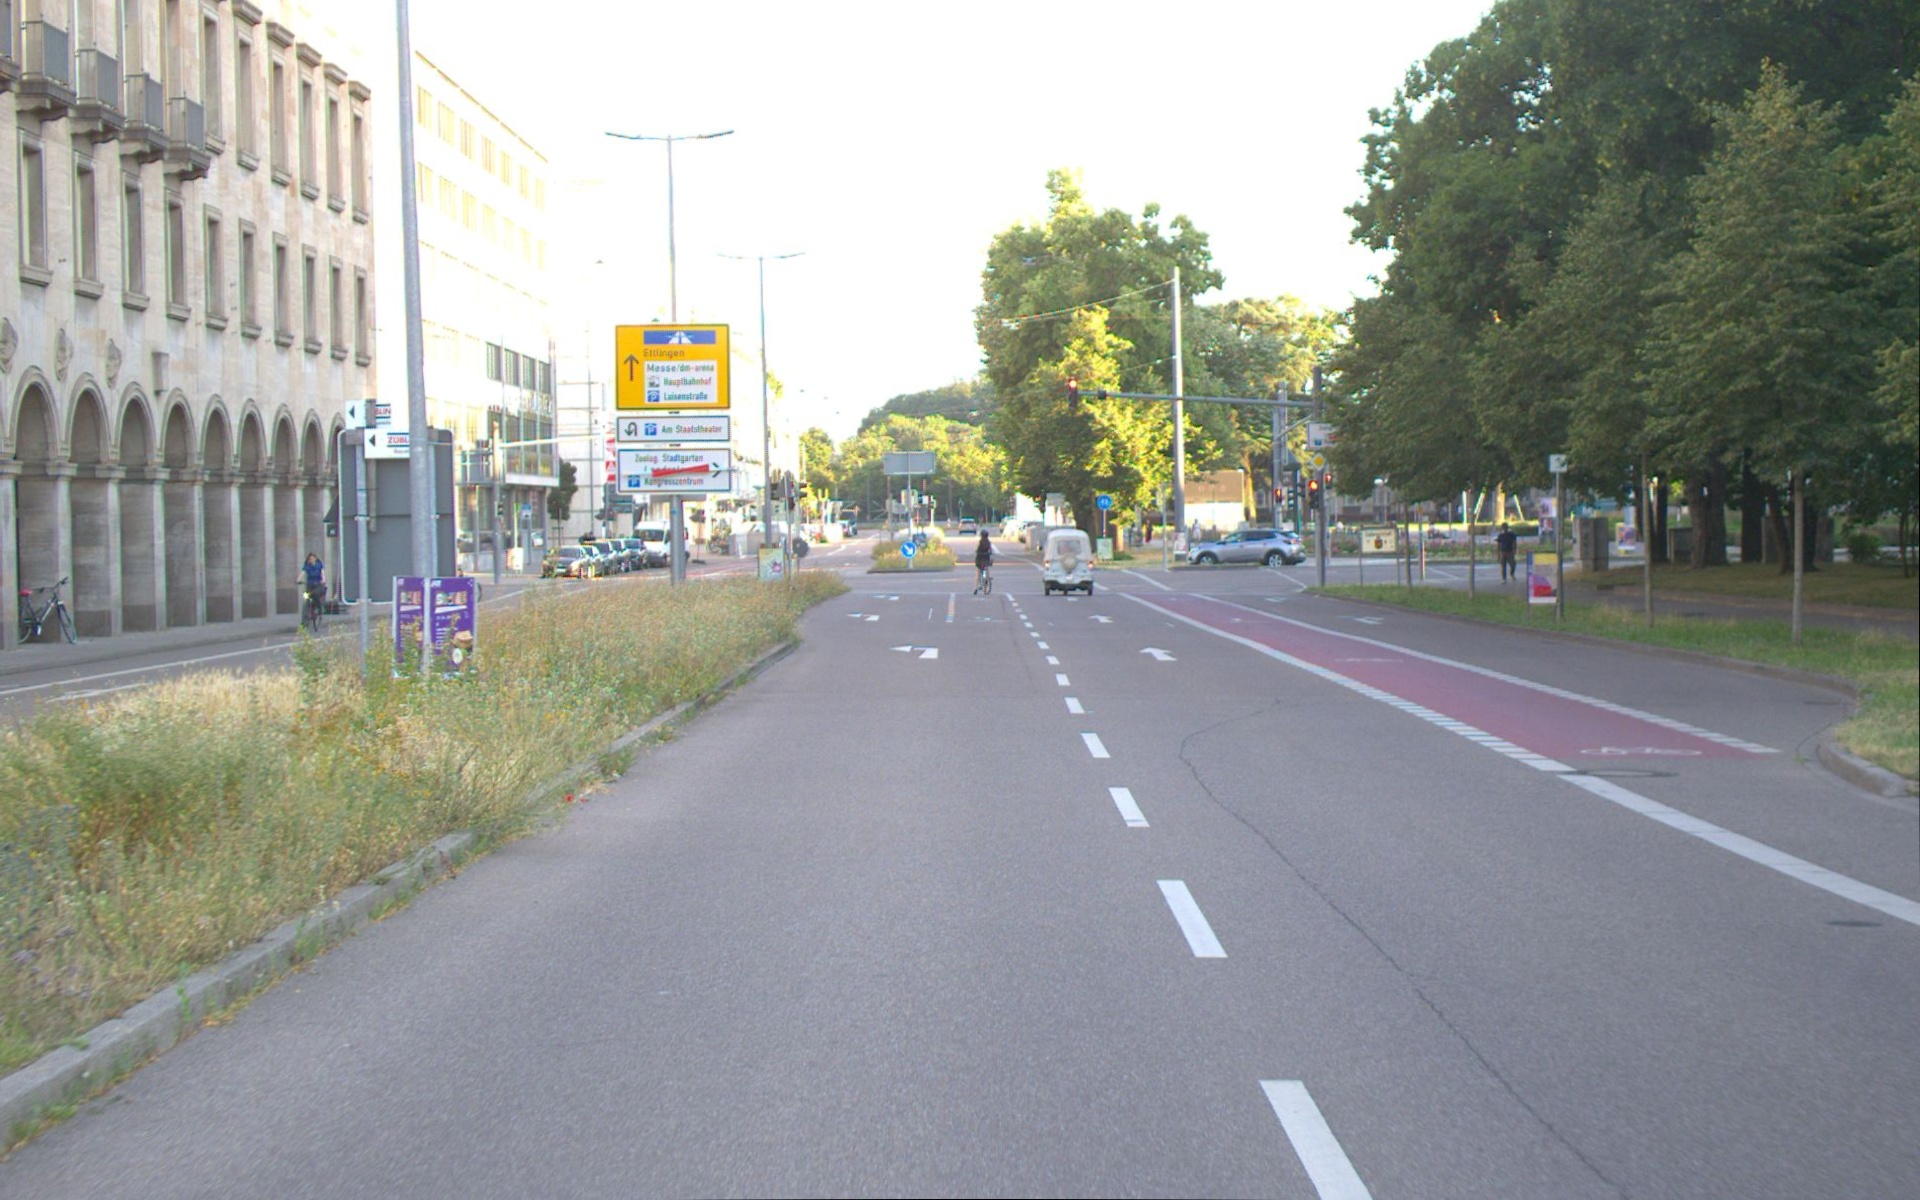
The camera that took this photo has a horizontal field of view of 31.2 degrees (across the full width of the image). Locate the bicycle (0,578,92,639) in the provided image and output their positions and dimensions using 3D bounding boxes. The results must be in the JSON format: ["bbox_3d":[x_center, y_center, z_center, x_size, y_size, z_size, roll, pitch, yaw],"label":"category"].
[{"bbox_3d":[-16.302,0.143,60.737,0.478,1.002,2.001,0,1,36],"label":"bicycle"}]

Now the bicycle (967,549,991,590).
[{"bbox_3d":[0.520,-0.828,92.982,0.637,1.065,2.069,0,1,0],"label":"bicycle"}]

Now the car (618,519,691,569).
[{"bbox_3d":[-16.125,-2.943,181.810,2.178,2.377,5.986,-2,-1,11],"label":"car"}]

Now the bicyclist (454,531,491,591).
[{"bbox_3d":[-13.896,-1.118,98.007,0.747,1.687,0.764,-1,1,18],"label":"bicyclist"}]

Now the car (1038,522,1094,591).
[{"bbox_3d":[2.851,-1.186,92.385,1.459,1.774,2.564,0,2,2],"label":"car"}]

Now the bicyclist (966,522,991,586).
[{"bbox_3d":[0.504,-1.242,92.659,0.628,1.687,0.748,-1,1,-1],"label":"bicyclist"}]

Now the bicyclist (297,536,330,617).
[{"bbox_3d":[-13.718,-0.506,72.937,0.536,1.687,0.748,-1,1,-1],"label":"bicyclist"}]

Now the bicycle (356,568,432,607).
[{"bbox_3d":[-15.947,-0.354,96.819,2.014,1.065,0.731,-1,1,-15],"label":"bicycle"}]

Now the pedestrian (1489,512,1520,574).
[{"bbox_3d":[15.074,-1.576,95.260,0.695,1.687,0.748,-1,1,-1],"label":"pedestrian"}]

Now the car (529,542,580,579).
[{"bbox_3d":[-17.841,-1.735,151.245,1.796,1.470,4.000,-1,-1,-1],"label":"car"}]

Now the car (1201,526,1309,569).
[{"bbox_3d":[11.171,-1.995,130.313,3.987,1.568,2.000,-1,1,3],"label":"car"}]

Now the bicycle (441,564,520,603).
[{"bbox_3d":[-13.669,-0.464,97.948,2.059,1.065,0.786,-1,1,17],"label":"bicycle"}]

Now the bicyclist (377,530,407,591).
[{"bbox_3d":[-15.988,-1.104,96.817,0.746,1.687,0.715,-1,1,-13],"label":"bicyclist"}]

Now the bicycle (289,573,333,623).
[{"bbox_3d":[-13.707,-0.052,72.674,0.541,1.002,2.005,-1,1,0],"label":"bicycle"}]
